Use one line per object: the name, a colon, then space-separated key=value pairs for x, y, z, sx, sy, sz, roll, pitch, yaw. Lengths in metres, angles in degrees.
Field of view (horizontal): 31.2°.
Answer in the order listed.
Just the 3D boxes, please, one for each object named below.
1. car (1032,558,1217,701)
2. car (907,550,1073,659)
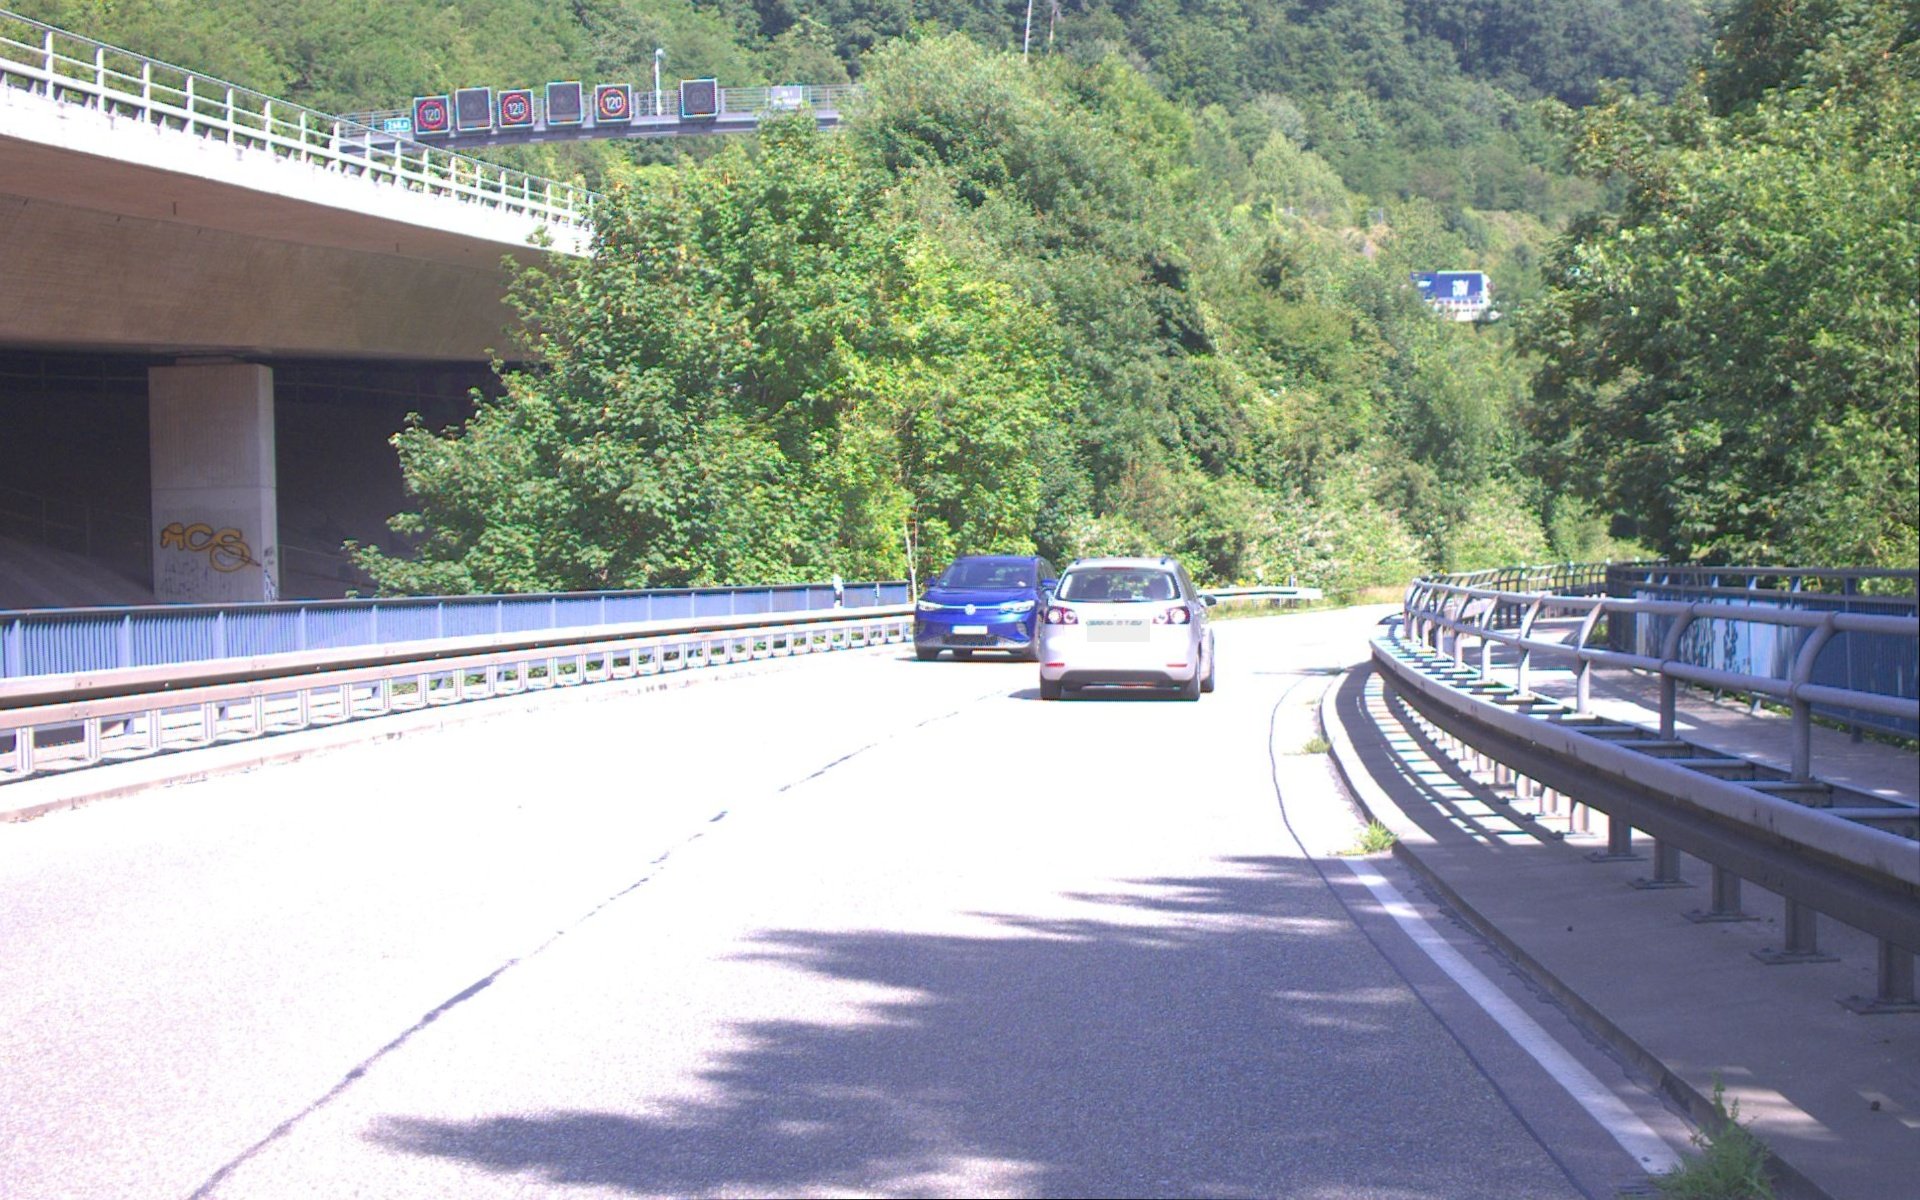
car: x=1.896 y=0.307 z=38.512 sx=1.751 sy=1.515 sz=4.158 roll=0 pitch=0 yaw=7
car: x=0.514 y=0.035 z=52.249 sx=1.899 sy=1.575 sz=4.553 roll=0 pitch=1 yaw=9
